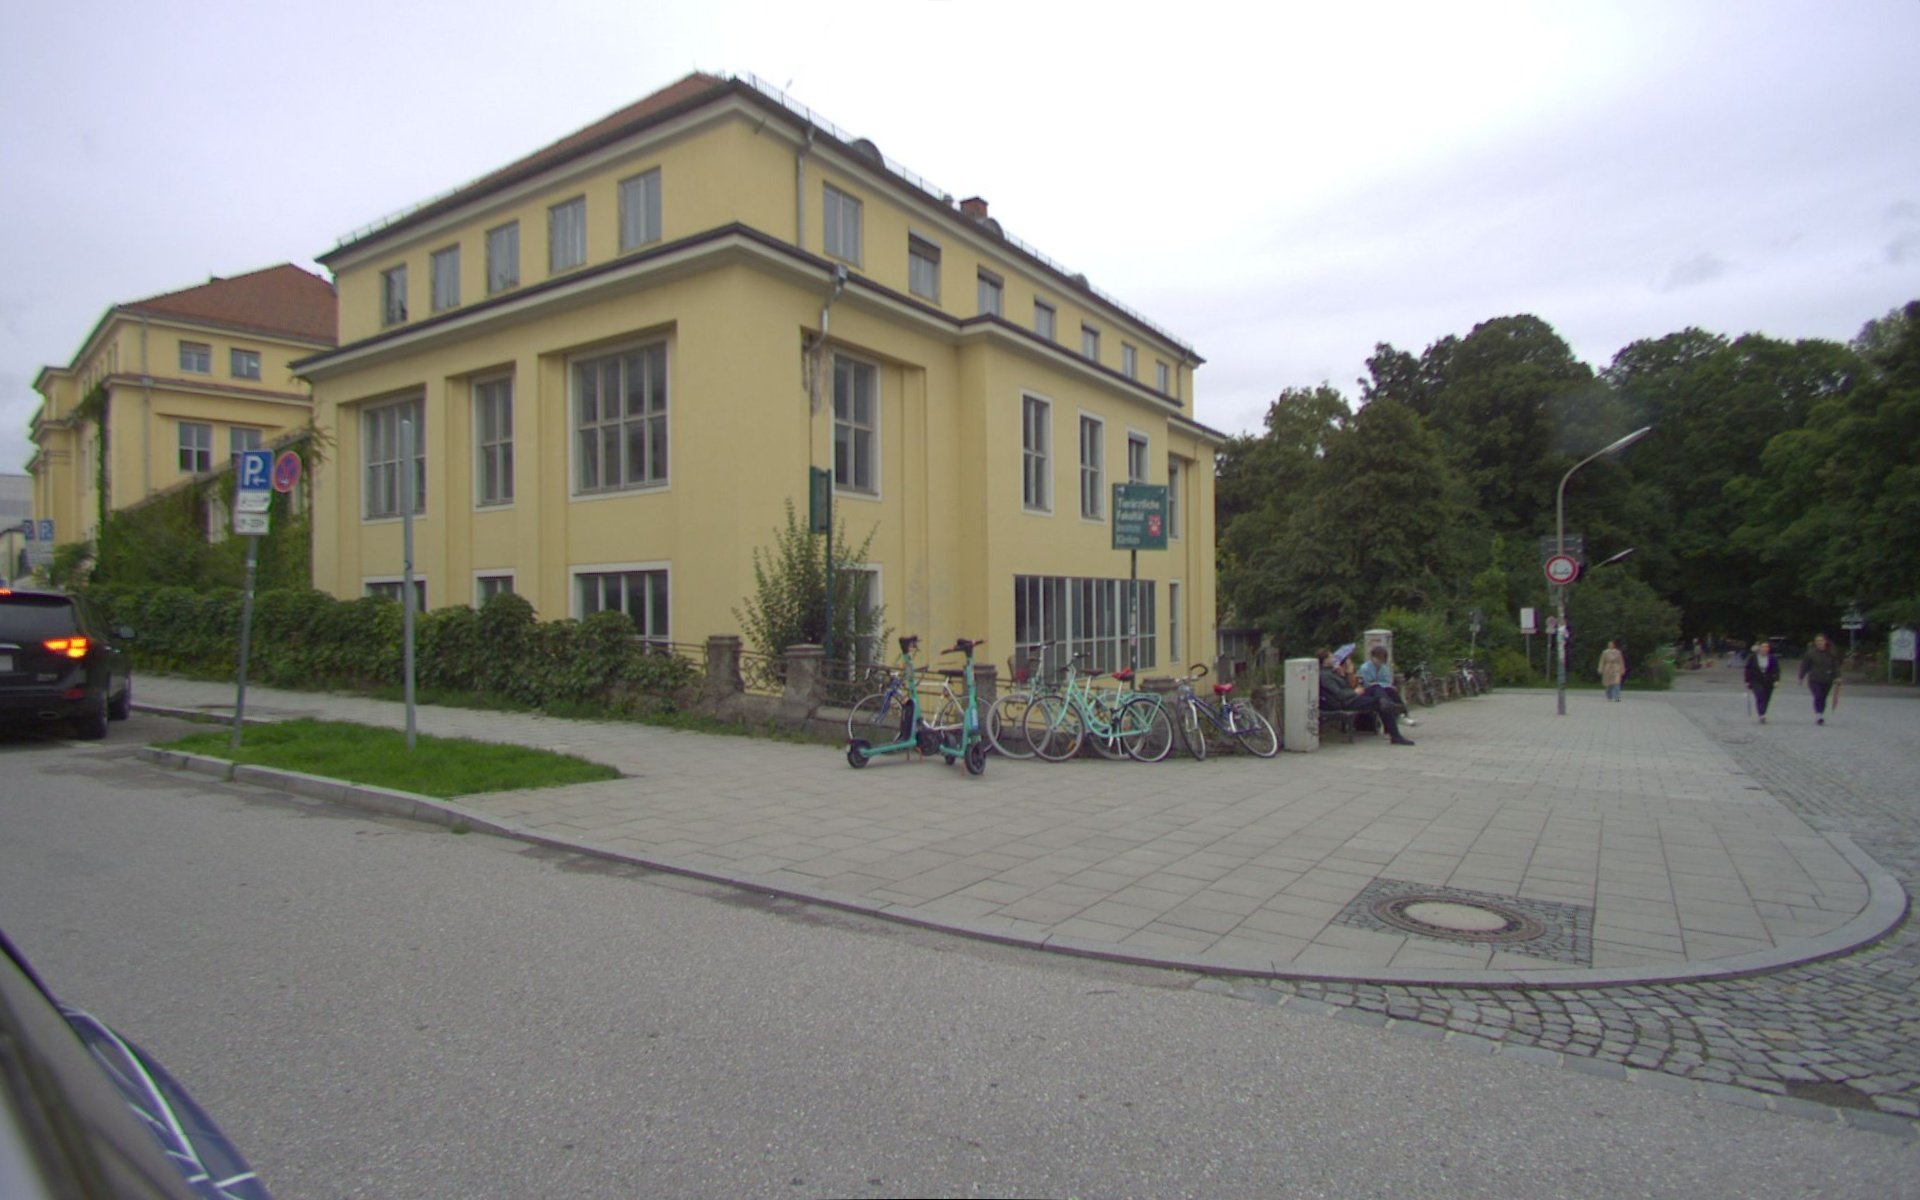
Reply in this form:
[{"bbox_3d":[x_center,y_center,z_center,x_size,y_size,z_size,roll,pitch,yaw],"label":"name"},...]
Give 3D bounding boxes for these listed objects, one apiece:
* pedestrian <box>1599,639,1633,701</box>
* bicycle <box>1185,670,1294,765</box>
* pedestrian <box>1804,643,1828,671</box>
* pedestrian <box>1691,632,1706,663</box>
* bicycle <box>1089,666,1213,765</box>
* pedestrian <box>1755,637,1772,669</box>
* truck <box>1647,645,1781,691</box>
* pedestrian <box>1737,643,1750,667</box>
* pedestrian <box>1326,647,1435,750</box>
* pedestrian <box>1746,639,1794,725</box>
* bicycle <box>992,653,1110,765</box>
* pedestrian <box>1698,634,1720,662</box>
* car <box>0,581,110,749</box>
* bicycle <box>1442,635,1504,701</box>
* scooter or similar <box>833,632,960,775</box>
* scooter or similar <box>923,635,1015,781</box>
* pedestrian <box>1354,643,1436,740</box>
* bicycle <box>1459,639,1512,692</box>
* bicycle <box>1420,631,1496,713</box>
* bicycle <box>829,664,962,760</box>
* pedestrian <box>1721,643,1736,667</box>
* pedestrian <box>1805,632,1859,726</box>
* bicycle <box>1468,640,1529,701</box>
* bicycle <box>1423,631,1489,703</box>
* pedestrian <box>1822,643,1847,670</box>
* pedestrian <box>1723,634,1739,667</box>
[{"bbox_3d":[18.925,2.009,29.206,0.746,1.719,1.100,-1,-1,30],"label":"pedestrian"},{"bbox_3d":[3.177,1.305,11.467,1.254,0.985,0.415,1,-2,-30],"label":"bicycle"},{"bbox_3d":[51.729,3.419,61.168,0.721,1.665,0.885,1,-2,-31],"label":"pedestrian"},{"bbox_3d":[48.083,3.098,65.936,0.695,2.029,0.710,-2,-3,34],"label":"pedestrian"},{"bbox_3d":[2.037,1.217,10.815,1.254,0.985,0.415,0,-2,-19],"label":"bicycle"},{"bbox_3d":[50.330,3.322,63.377,0.695,2.029,0.710,-2,-3,34],"label":"pedestrian"},{"bbox_3d":[42.390,3.794,57.078,5.443,2.480,2.388,-1,-1,15],"label":"truck"},{"bbox_3d":[48.550,3.391,62.719,0.538,1.506,0.538,-1,-2,31],"label":"pedestrian"},{"bbox_3d":[5.631,1.285,13.543,1.260,1.278,0.842,-1,-1,28],"label":"pedestrian"},{"bbox_3d":[15.676,1.568,19.600,0.691,1.593,0.742,-2,-2,38],"label":"pedestrian"},{"bbox_3d":[0.948,1.117,10.508,1.171,1.119,0.302,1,-1,-15],"label":"bicycle"},{"bbox_3d":[54.907,3.528,74.177,1.047,2.029,1.137,-1,-2,28],"label":"pedestrian"},{"bbox_3d":[-11.488,0.720,12.118,1.969,1.732,4.622,0,-2,-40],"label":"car"},{"bbox_3d":[14.348,1.855,28.388,1.044,1.674,3.133,-1,-1,18],"label":"bicycle"},{"bbox_3d":[-0.594,0.952,9.693,1.245,1.253,0.395,1,0,-45],"label":"scooter or similar"},{"bbox_3d":[0.063,0.955,9.357,0.432,1.221,1.057,1,0,-24],"label":"scooter or similar"},{"bbox_3d":[6.452,1.320,15.001,1.028,1.345,0.947,-1,-1,28],"label":"pedestrian"},{"bbox_3d":[17.935,2.194,34.608,1.044,1.674,3.134,-1,-1,17],"label":"bicycle"},{"bbox_3d":[11.174,1.556,22.844,1.044,1.674,3.133,-1,-1,18],"label":"bicycle"},{"bbox_3d":[-0.675,1.160,10.629,1.318,0.900,0.432,1,0,16],"label":"bicycle"},{"bbox_3d":[48.065,3.418,63.304,0.661,1.506,0.622,-1,-2,31],"label":"pedestrian"},{"bbox_3d":[16.430,1.469,19.080,0.659,1.710,0.742,-1,-2,36],"label":"pedestrian"},{"bbox_3d":[16.194,2.076,30.530,1.044,1.674,3.133,-1,-1,18],"label":"bicycle"},{"bbox_3d":[12.571,1.647,25.751,1.044,1.674,2.986,-1,-1,18],"label":"bicycle"},{"bbox_3d":[53.791,3.478,62.257,0.874,1.665,0.729,-1,-2,17],"label":"pedestrian"},{"bbox_3d":[48.719,3.193,63.939,0.695,2.029,0.710,-2,-3,34],"label":"pedestrian"}]
